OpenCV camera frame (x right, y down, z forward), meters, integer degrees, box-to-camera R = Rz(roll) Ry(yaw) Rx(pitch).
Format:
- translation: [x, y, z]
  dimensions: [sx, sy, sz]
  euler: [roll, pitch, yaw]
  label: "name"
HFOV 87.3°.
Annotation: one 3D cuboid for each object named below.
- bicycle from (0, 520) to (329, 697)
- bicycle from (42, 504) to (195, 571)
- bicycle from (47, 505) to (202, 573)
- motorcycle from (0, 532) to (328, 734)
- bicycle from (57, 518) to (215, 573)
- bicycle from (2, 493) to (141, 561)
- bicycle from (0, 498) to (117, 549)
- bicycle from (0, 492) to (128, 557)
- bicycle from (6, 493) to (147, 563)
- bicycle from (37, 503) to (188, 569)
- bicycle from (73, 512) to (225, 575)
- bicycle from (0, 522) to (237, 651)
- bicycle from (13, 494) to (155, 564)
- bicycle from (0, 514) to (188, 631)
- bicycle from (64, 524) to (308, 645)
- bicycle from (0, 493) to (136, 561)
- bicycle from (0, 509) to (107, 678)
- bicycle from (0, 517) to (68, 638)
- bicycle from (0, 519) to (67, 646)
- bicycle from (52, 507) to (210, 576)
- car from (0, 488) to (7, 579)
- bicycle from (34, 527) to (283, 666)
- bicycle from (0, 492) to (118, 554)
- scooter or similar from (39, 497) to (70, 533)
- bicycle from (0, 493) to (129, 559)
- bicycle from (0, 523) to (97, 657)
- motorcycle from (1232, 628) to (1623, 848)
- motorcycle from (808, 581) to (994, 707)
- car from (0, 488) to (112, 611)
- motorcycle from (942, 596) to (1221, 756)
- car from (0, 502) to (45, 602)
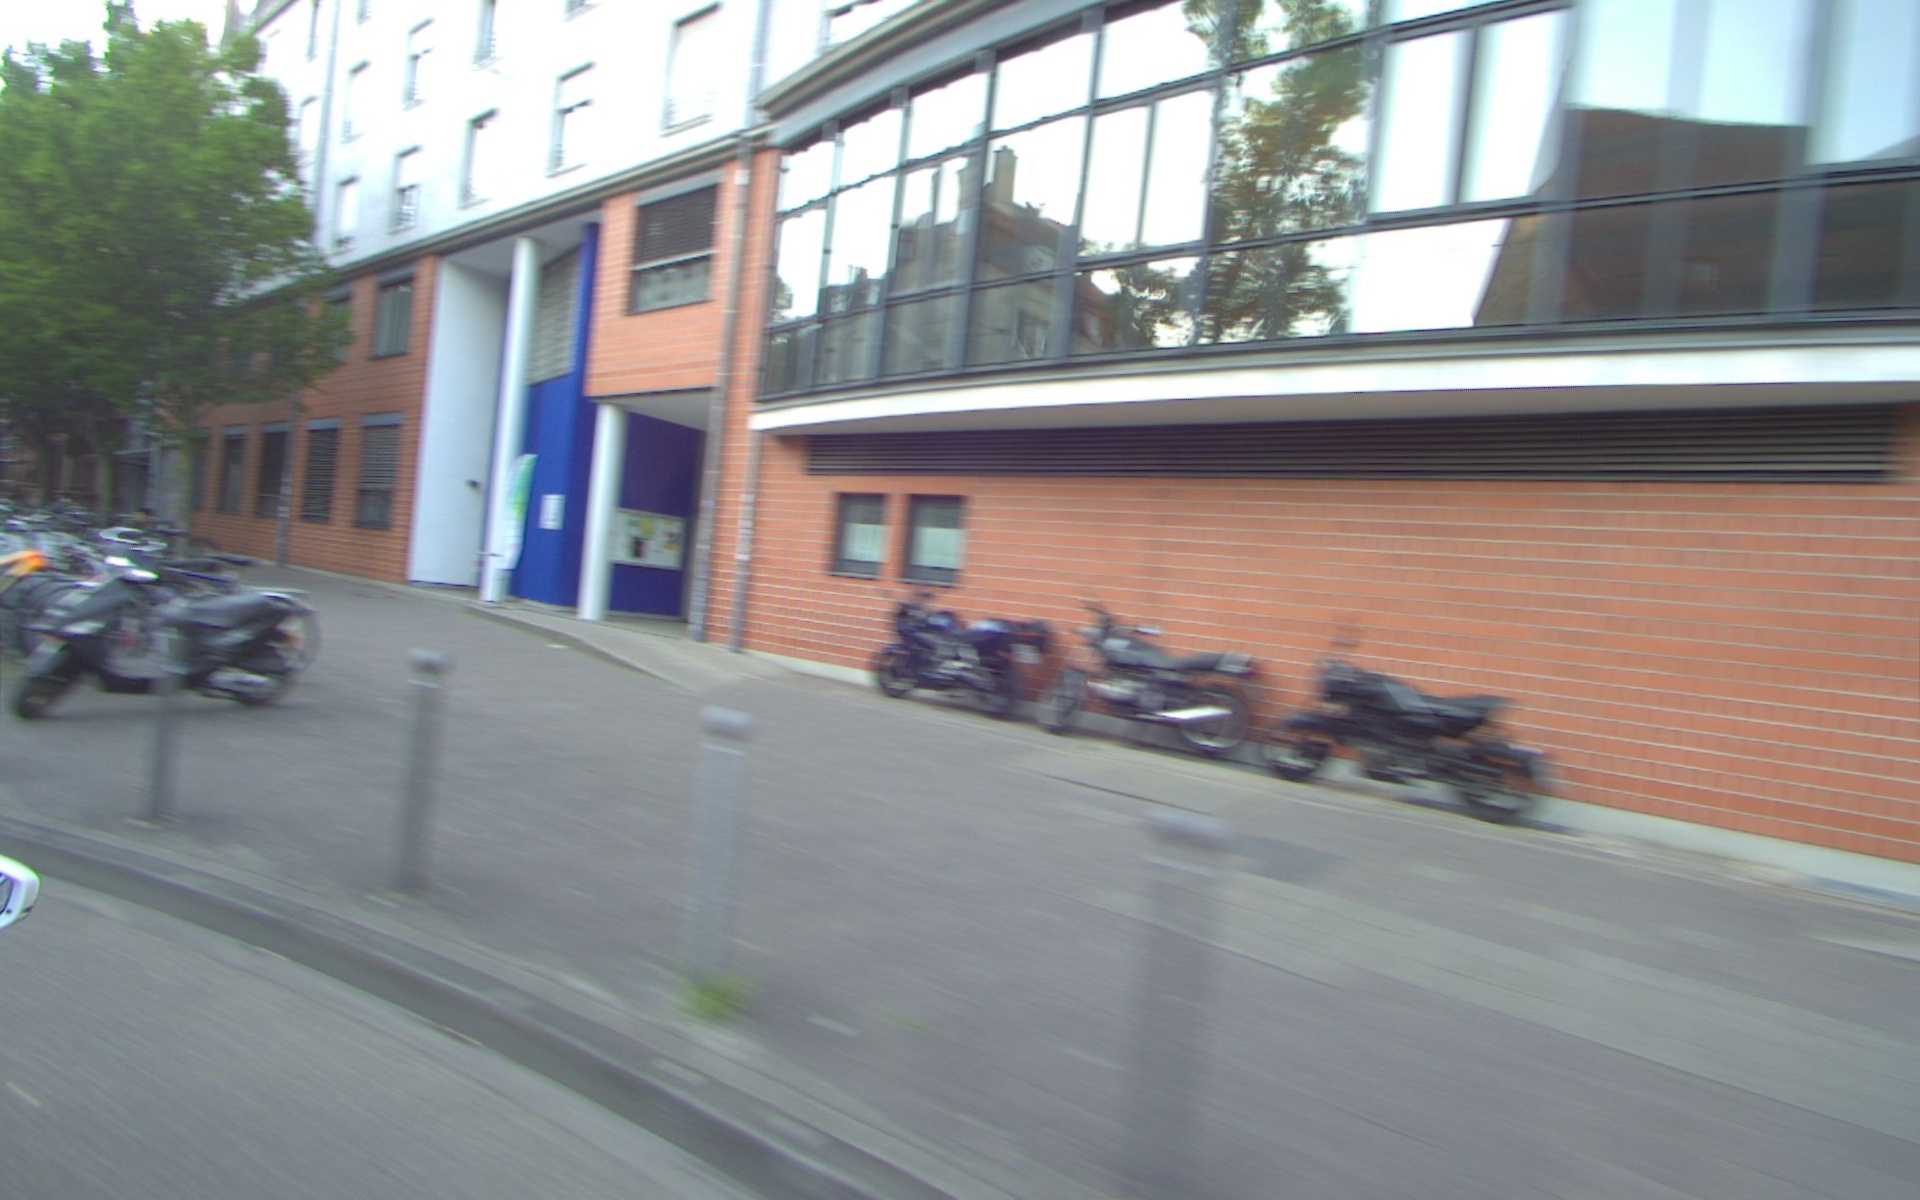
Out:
- translation: [-5.958, 0.065, 7.626]
  dimensions: [0.649, 1.162, 1.855]
  euler: [7, 3, 38]
  label: "bicycle"
- translation: [-18.916, -1.386, 22.673]
  dimensions: [0.554, 1.181, 2.530]
  euler: [7, 0, 41]
  label: "bicycle"
- translation: [-18.439, -1.322, 22.276]
  dimensions: [0.554, 1.181, 2.530]
  euler: [7, 0, 41]
  label: "bicycle"
- translation: [-5.196, 0.197, 6.578]
  dimensions: [0.636, 1.116, 1.645]
  euler: [7, 2, 30]
  label: "motorcycle"
- translation: [-17.516, -1.136, 21.460]
  dimensions: [0.670, 0.972, 2.527]
  euler: [7, 3, 41]
  label: "bicycle"
- translation: [-22.690, -1.847, 25.750]
  dimensions: [0.591, 1.396, 2.530]
  euler: [7, 0, 41]
  label: "bicycle"
- translation: [-24.883, -2.097, 27.661]
  dimensions: [0.591, 1.263, 2.525]
  euler: [7, 5, 41]
  label: "bicycle"
- translation: [-24.277, -2.032, 27.254]
  dimensions: [0.591, 1.396, 2.530]
  euler: [7, 0, 41]
  label: "bicycle"
- translation: [-22.211, -1.791, 25.352]
  dimensions: [0.591, 1.396, 2.530]
  euler: [7, 0, 41]
  label: "bicycle"
- translation: [-19.368, -1.439, 23.067]
  dimensions: [0.554, 1.181, 2.530]
  euler: [7, 0, 41]
  label: "bicycle"
- translation: [-16.621, -1.138, 20.665]
  dimensions: [0.670, 1.114, 2.340]
  euler: [7, 3, 41]
  label: "bicycle"
- translation: [-7.662, -0.093, 9.006]
  dimensions: [0.396, 1.052, 1.855]
  euler: [7, 2, 37]
  label: "bicycle"
- translation: [-21.654, -1.732, 24.926]
  dimensions: [0.591, 1.396, 2.530]
  euler: [7, 0, 41]
  label: "bicycle"
- translation: [-9.064, -0.272, 10.156]
  dimensions: [0.516, 1.080, 1.909]
  euler: [7, 2, 37]
  label: "bicycle"
- translation: [-7.773, -0.121, 10.193]
  dimensions: [0.516, 1.080, 1.855]
  euler: [7, 2, 37]
  label: "bicycle"
- translation: [-23.233, -1.879, 26.269]
  dimensions: [0.591, 1.396, 2.530]
  euler: [7, 0, 41]
  label: "bicycle"
- translation: [-7.174, -0.073, 7.063]
  dimensions: [0.465, 1.191, 1.705]
  euler: [7, 2, 37]
  label: "bicycle"
- translation: [-9.168, -0.243, 8.878]
  dimensions: [0.439, 1.080, 1.855]
  euler: [7, 2, 37]
  label: "bicycle"
- translation: [-8.698, -0.189, 8.335]
  dimensions: [0.439, 1.080, 1.855]
  euler: [7, 2, 37]
  label: "bicycle"
- translation: [-17.978, -1.244, 21.888]
  dimensions: [0.554, 1.181, 2.530]
  euler: [7, 0, 41]
  label: "bicycle"
- translation: [-17.485, -1.244, 15.363]
  dimensions: [1.677, 1.542, 4.002]
  euler: [5, 0, 9]
  label: "car"
- translation: [-6.699, 0.001, 8.477]
  dimensions: [0.465, 1.052, 1.538]
  euler: [7, 2, 37]
  label: "bicycle"
- translation: [-25.727, -2.176, 28.660]
  dimensions: [0.591, 1.396, 2.530]
  euler: [7, 0, 41]
  label: "bicycle"
- translation: [-32.888, -3.079, 36.558]
  dimensions: [0.365, 1.234, 1.692]
  euler: [3, 2, -27]
  label: "scooter or similar"
- translation: [-23.809, -1.942, 26.733]
  dimensions: [0.591, 1.396, 2.530]
  euler: [7, 0, 41]
  label: "bicycle"
- translation: [-7.985, -0.107, 7.816]
  dimensions: [0.465, 1.052, 1.855]
  euler: [7, 2, 37]
  label: "bicycle"
- translation: [3.357, 0.910, 7.416]
  dimensions: [2.404, 1.155, 0.798]
  euler: [7, 3, 39]
  label: "motorcycle"
- translation: [-0.681, 0.439, 10.964]
  dimensions: [2.052, 1.118, 0.587]
  euler: [6, 3, 36]
  label: "motorcycle"
- translation: [-13.000, -0.749, 12.103]
  dimensions: [1.736, 1.525, 4.002]
  euler: [6, 0, 10]
  label: "car"
- translation: [1.108, 0.656, 9.412]
  dimensions: [2.373, 1.154, 0.776]
  euler: [6, 2, 26]
  label: "motorcycle"
- translation: [-15.532, -0.829, 13.894]
  dimensions: [1.840, 1.491, 4.001]
  euler: [5, 0, 6]
  label: "car"
